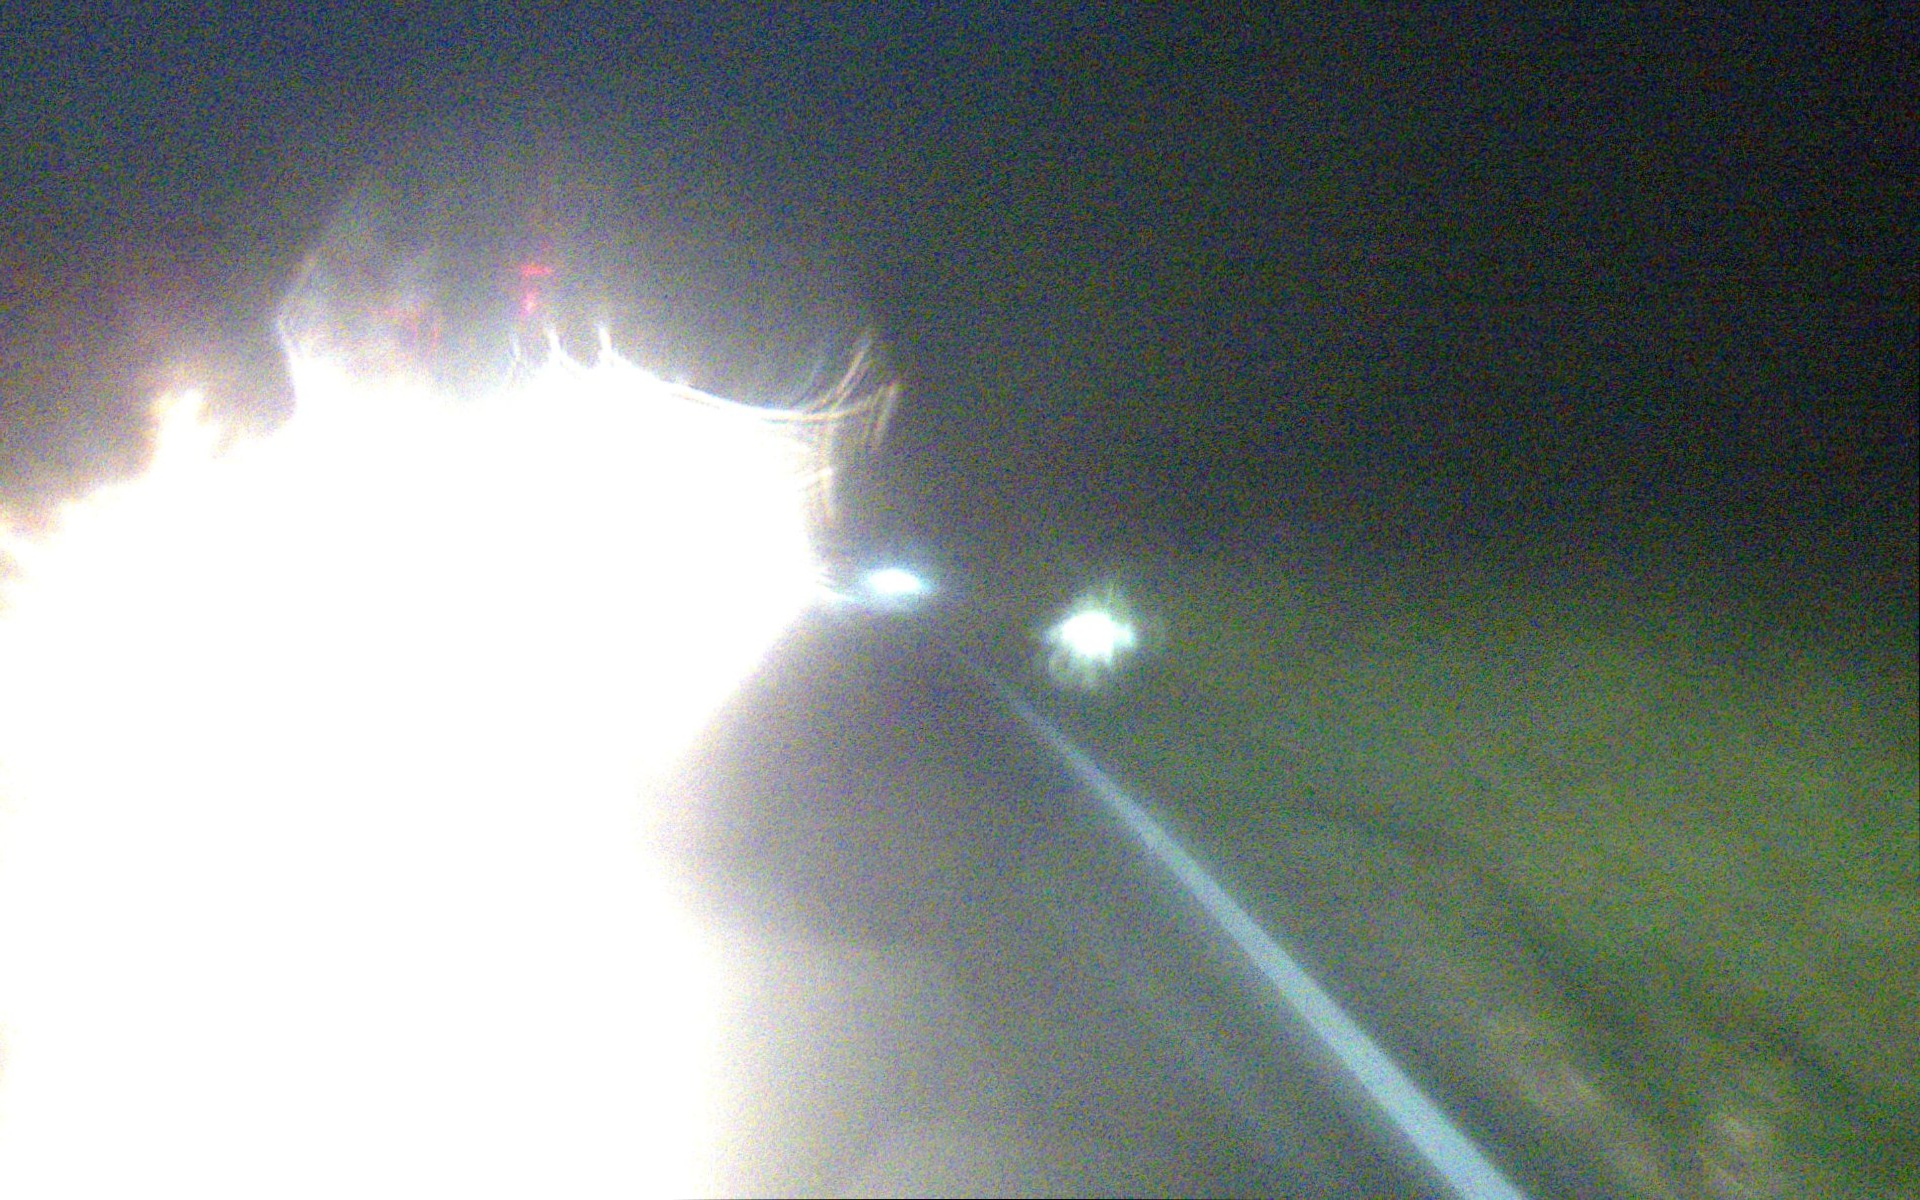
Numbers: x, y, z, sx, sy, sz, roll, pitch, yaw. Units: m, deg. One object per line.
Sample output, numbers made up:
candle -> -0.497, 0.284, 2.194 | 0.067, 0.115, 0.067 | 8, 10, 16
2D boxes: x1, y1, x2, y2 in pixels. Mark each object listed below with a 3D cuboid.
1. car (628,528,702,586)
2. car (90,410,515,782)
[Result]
car -> -8.376, -1.249, 97.972 | 1.925, 1.569, 4.348 | 0, 2, -3
car -> -4.383, -0.098, 23.801 | 1.993, 2.264, 5.468 | 1, 2, -1
